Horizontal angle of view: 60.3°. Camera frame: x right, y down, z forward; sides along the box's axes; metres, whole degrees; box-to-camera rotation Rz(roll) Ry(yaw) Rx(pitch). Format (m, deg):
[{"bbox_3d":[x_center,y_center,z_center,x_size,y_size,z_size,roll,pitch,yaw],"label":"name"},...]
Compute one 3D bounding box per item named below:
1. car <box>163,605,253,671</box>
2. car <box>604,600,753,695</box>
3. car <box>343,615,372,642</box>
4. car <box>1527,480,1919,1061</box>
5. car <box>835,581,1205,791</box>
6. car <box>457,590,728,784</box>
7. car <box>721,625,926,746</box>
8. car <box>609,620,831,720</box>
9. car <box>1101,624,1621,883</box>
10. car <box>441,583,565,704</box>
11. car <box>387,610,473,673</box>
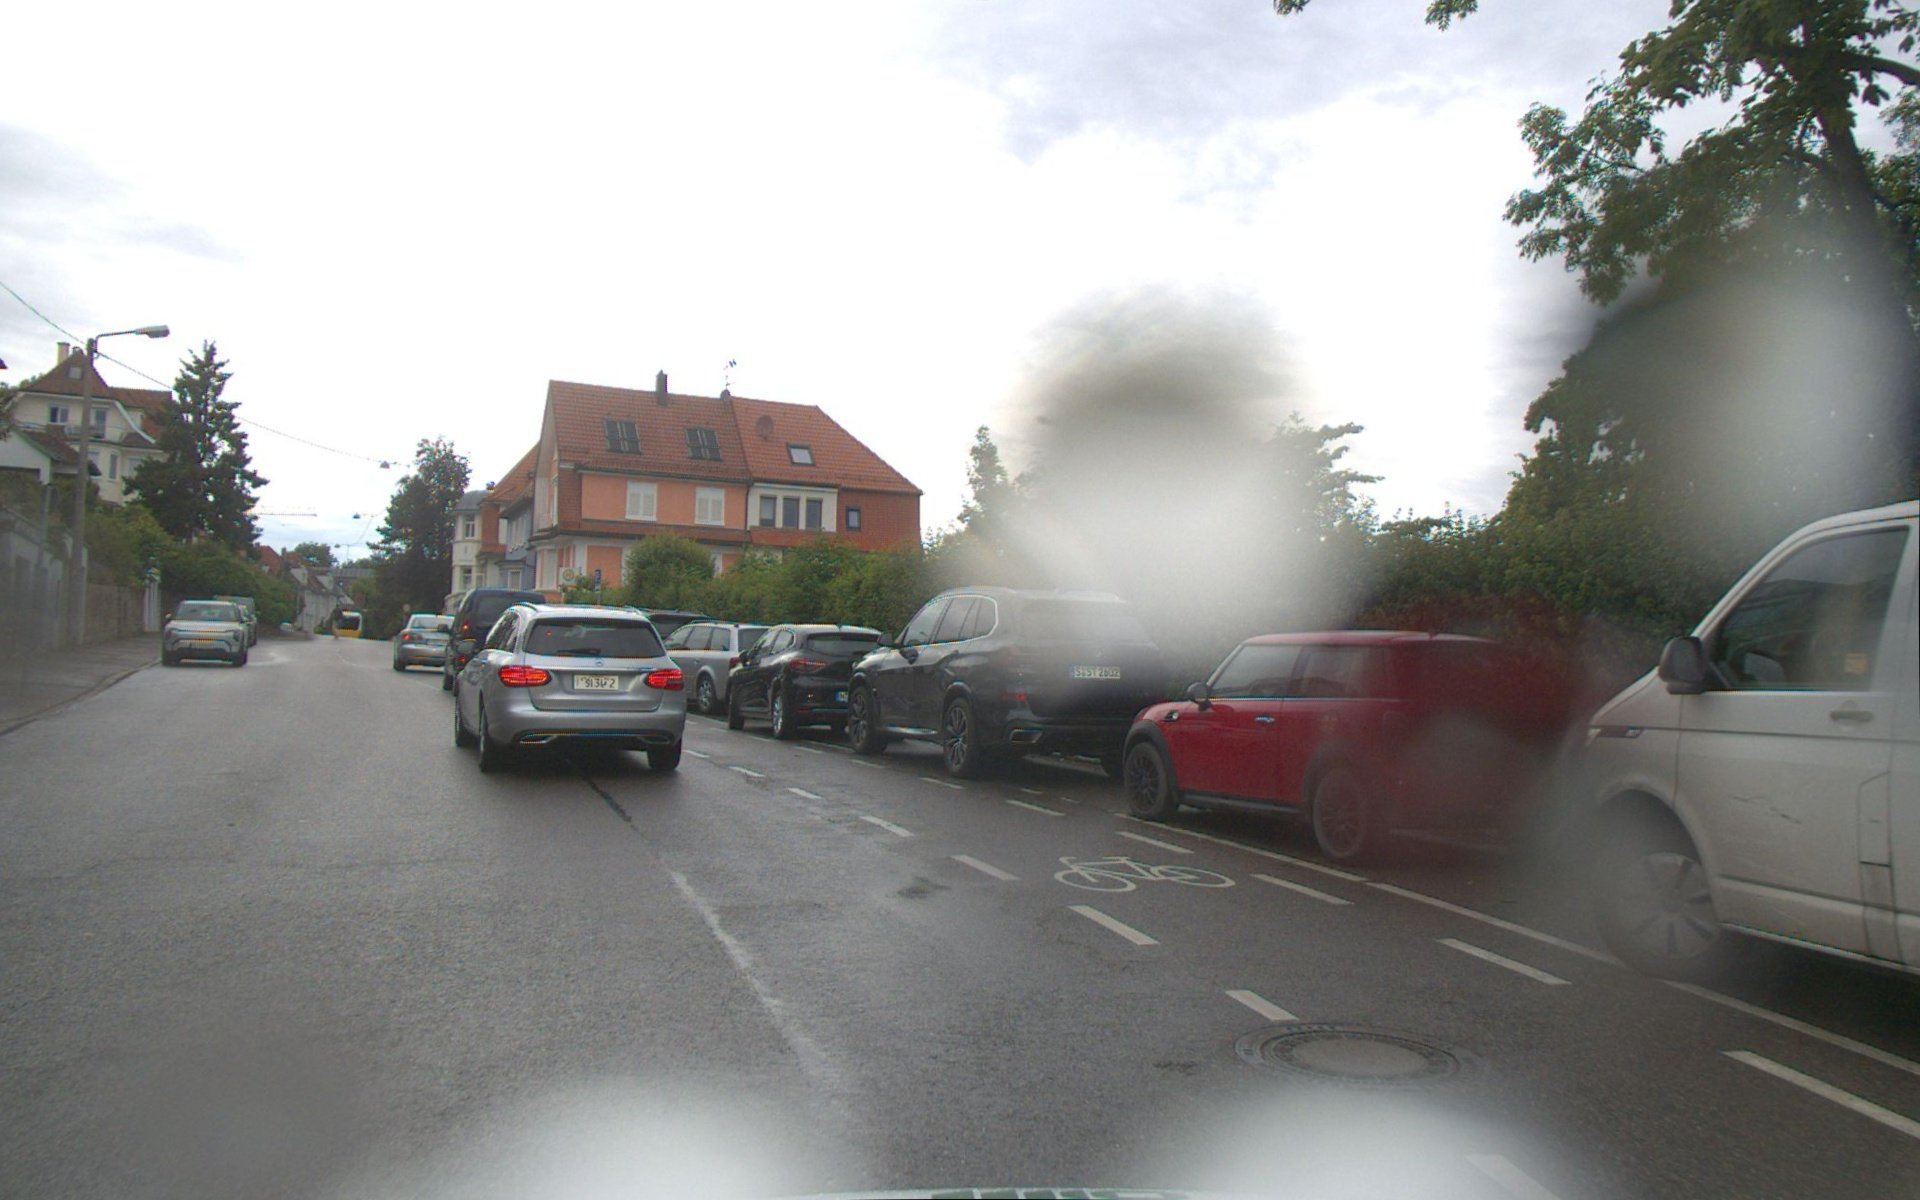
[{"bbox_3d":[-19.026,0.920,41.974,1.872,1.595,4.209,0,0,-22],"label":"car"},{"bbox_3d":[-5.681,0.902,32.919,1.862,1.692,4.515,3,-1,-23],"label":"car"},{"bbox_3d":[-55.930,2.644,153.491,2.433,2.442,3.973,-1,0,-22],"label":"car"},{"bbox_3d":[4.192,0.573,5.755,1.829,1.982,4.788,-1,0,-15],"label":"car"},{"bbox_3d":[0.403,0.753,16.929,1.998,1.814,4.867,1,0,-22],"label":"car"},{"bbox_3d":[-3.663,0.741,15.871,1.954,1.581,4.271,1,-1,-21],"label":"car"},{"bbox_3d":[-1.904,1.064,21.922,1.664,1.447,3.958,1,-1,-21],"label":"car"},{"bbox_3d":[-4.136,1.137,27.940,1.784,1.465,4.583,2,-1,-36],"label":"car"},{"bbox_3d":[2.600,0.925,11.600,1.649,1.439,3.715,1,0,-24],"label":"car"},{"bbox_3d":[-8.195,0.698,29.463,1.797,1.915,4.072,-2,1,-19],"label":"car"},{"bbox_3d":[-13.423,1.013,41.754,1.828,1.484,4.068,0,0,-22],"label":"car"}]
